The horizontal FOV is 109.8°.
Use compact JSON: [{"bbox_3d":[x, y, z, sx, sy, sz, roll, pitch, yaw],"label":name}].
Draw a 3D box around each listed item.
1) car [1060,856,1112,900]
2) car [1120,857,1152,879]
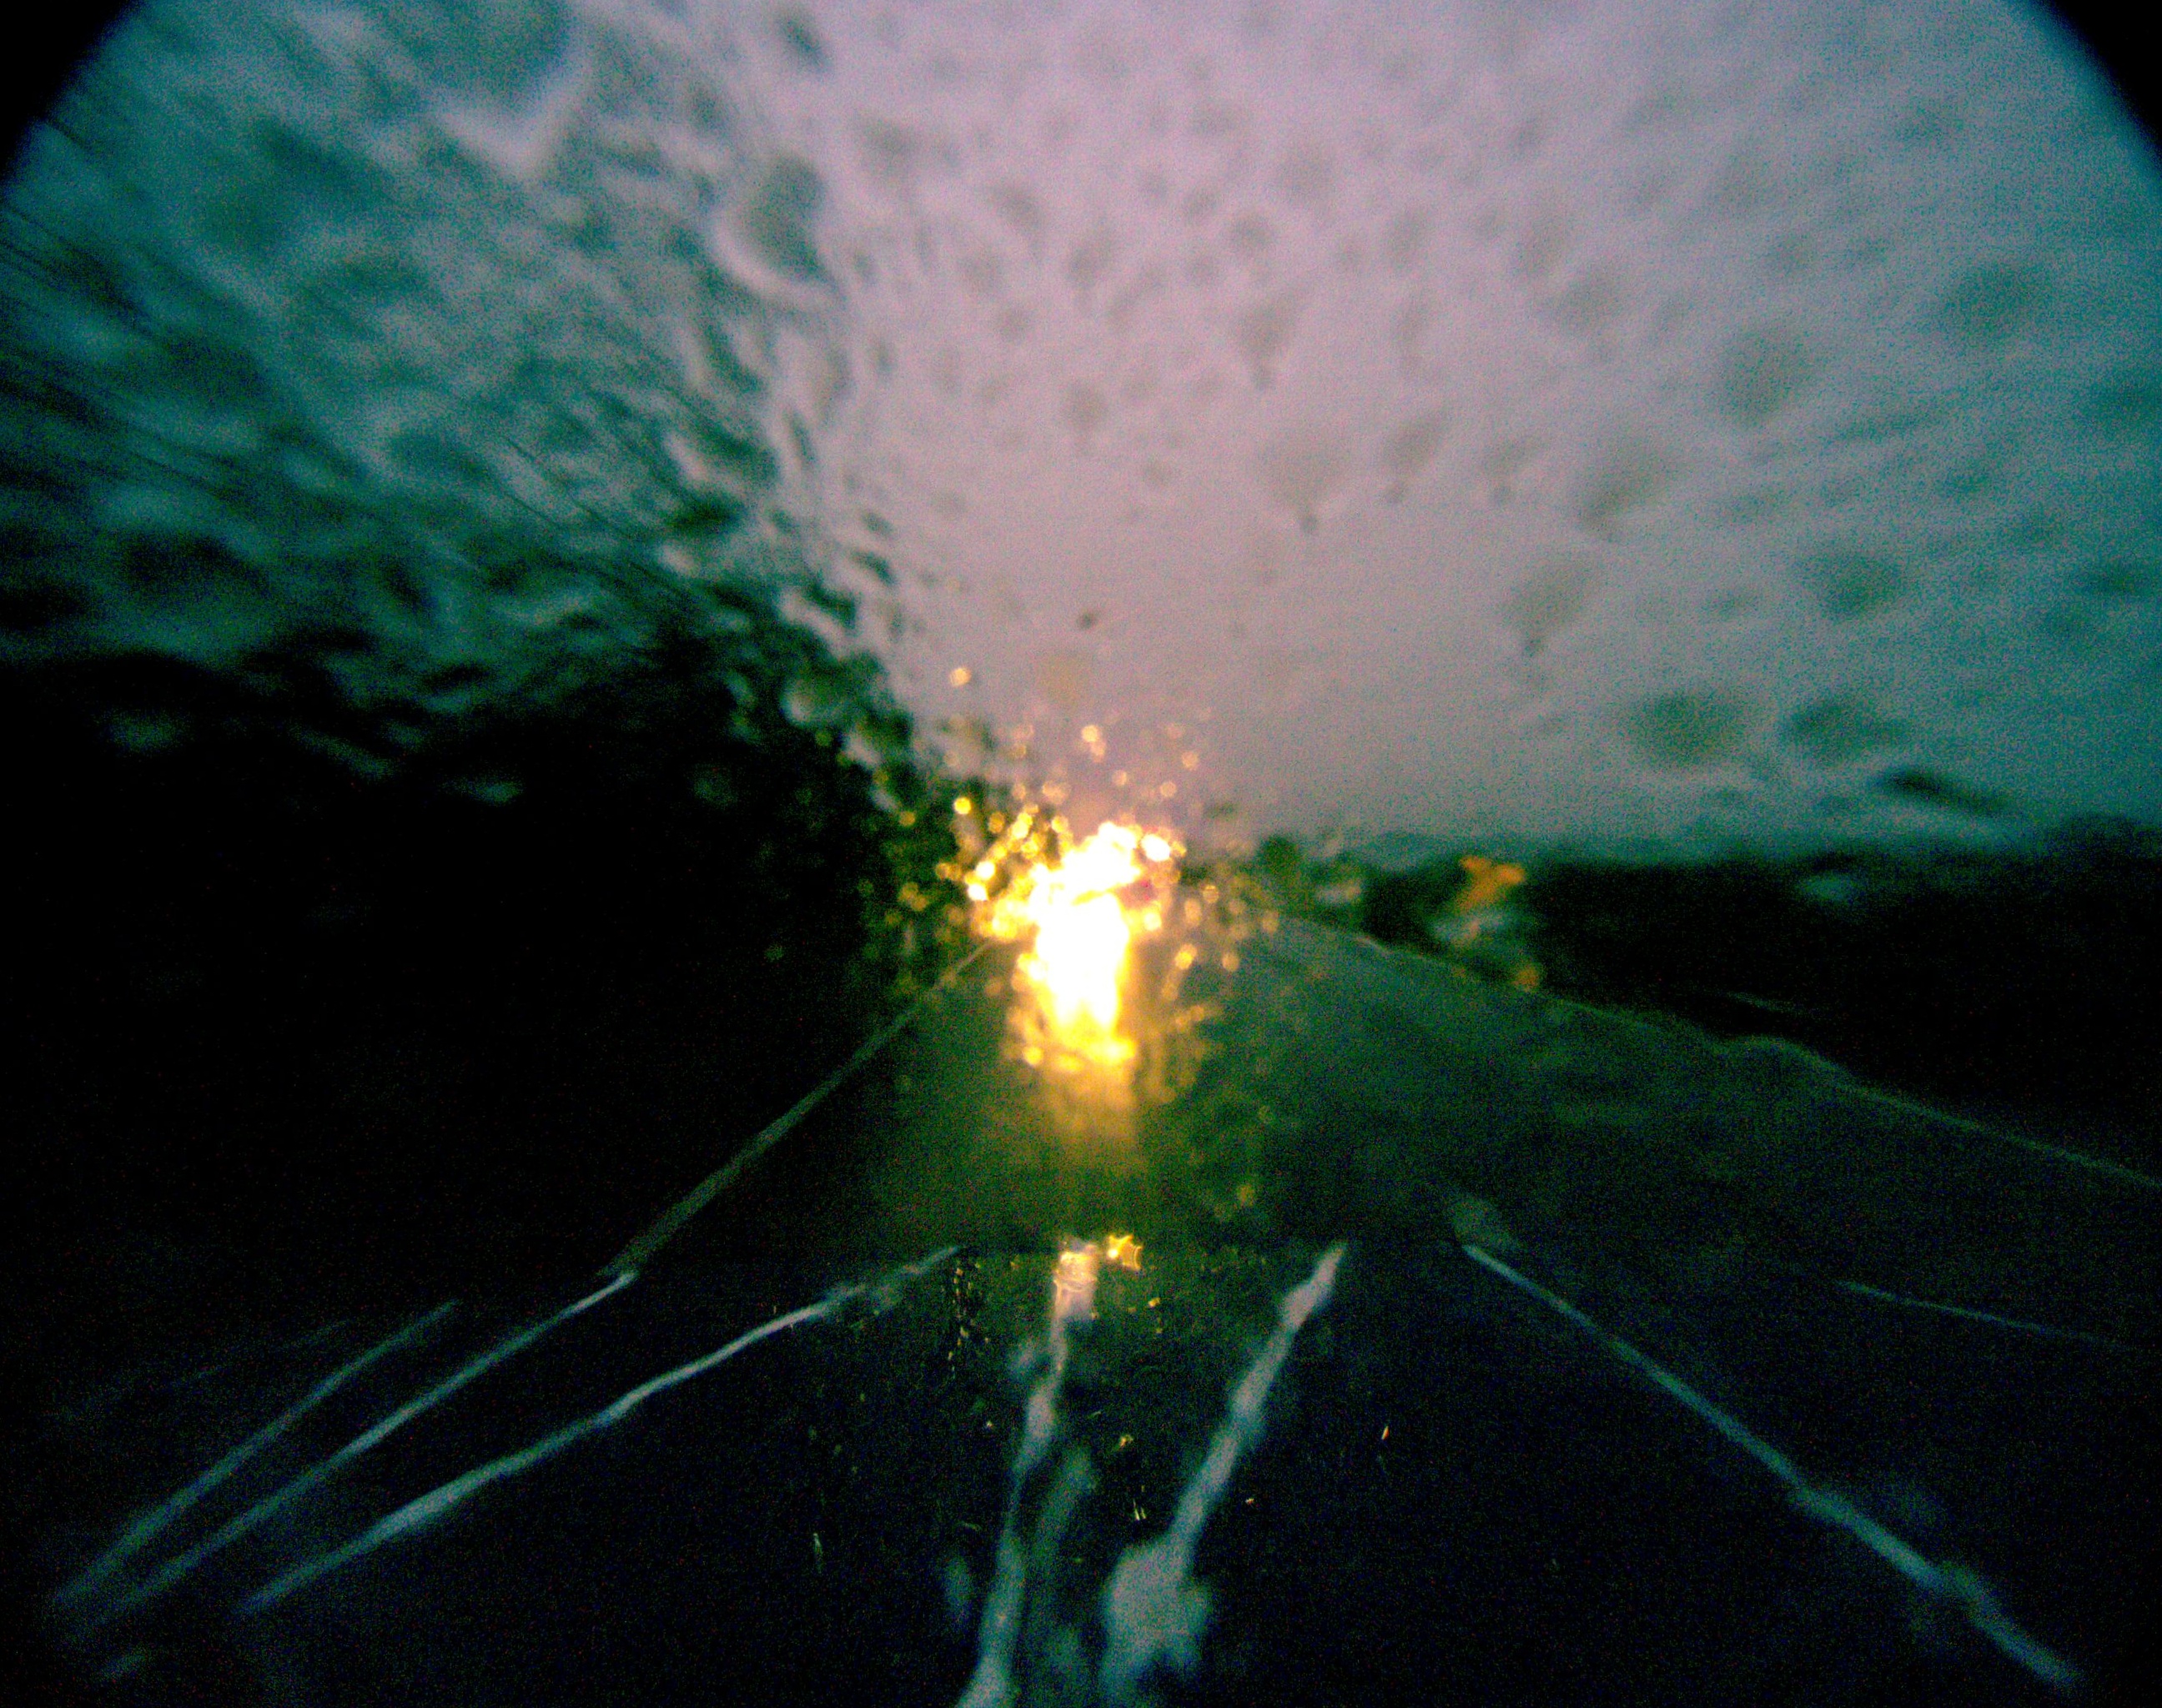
[{"bbox_3d":[0.182,0.864,29.402,1.844,1.484,3.955,-2,1,0],"label":"car"},{"bbox_3d":[3.951,0.973,54.906,1.998,1.364,4.397,-2,1,1],"label":"car"}]
